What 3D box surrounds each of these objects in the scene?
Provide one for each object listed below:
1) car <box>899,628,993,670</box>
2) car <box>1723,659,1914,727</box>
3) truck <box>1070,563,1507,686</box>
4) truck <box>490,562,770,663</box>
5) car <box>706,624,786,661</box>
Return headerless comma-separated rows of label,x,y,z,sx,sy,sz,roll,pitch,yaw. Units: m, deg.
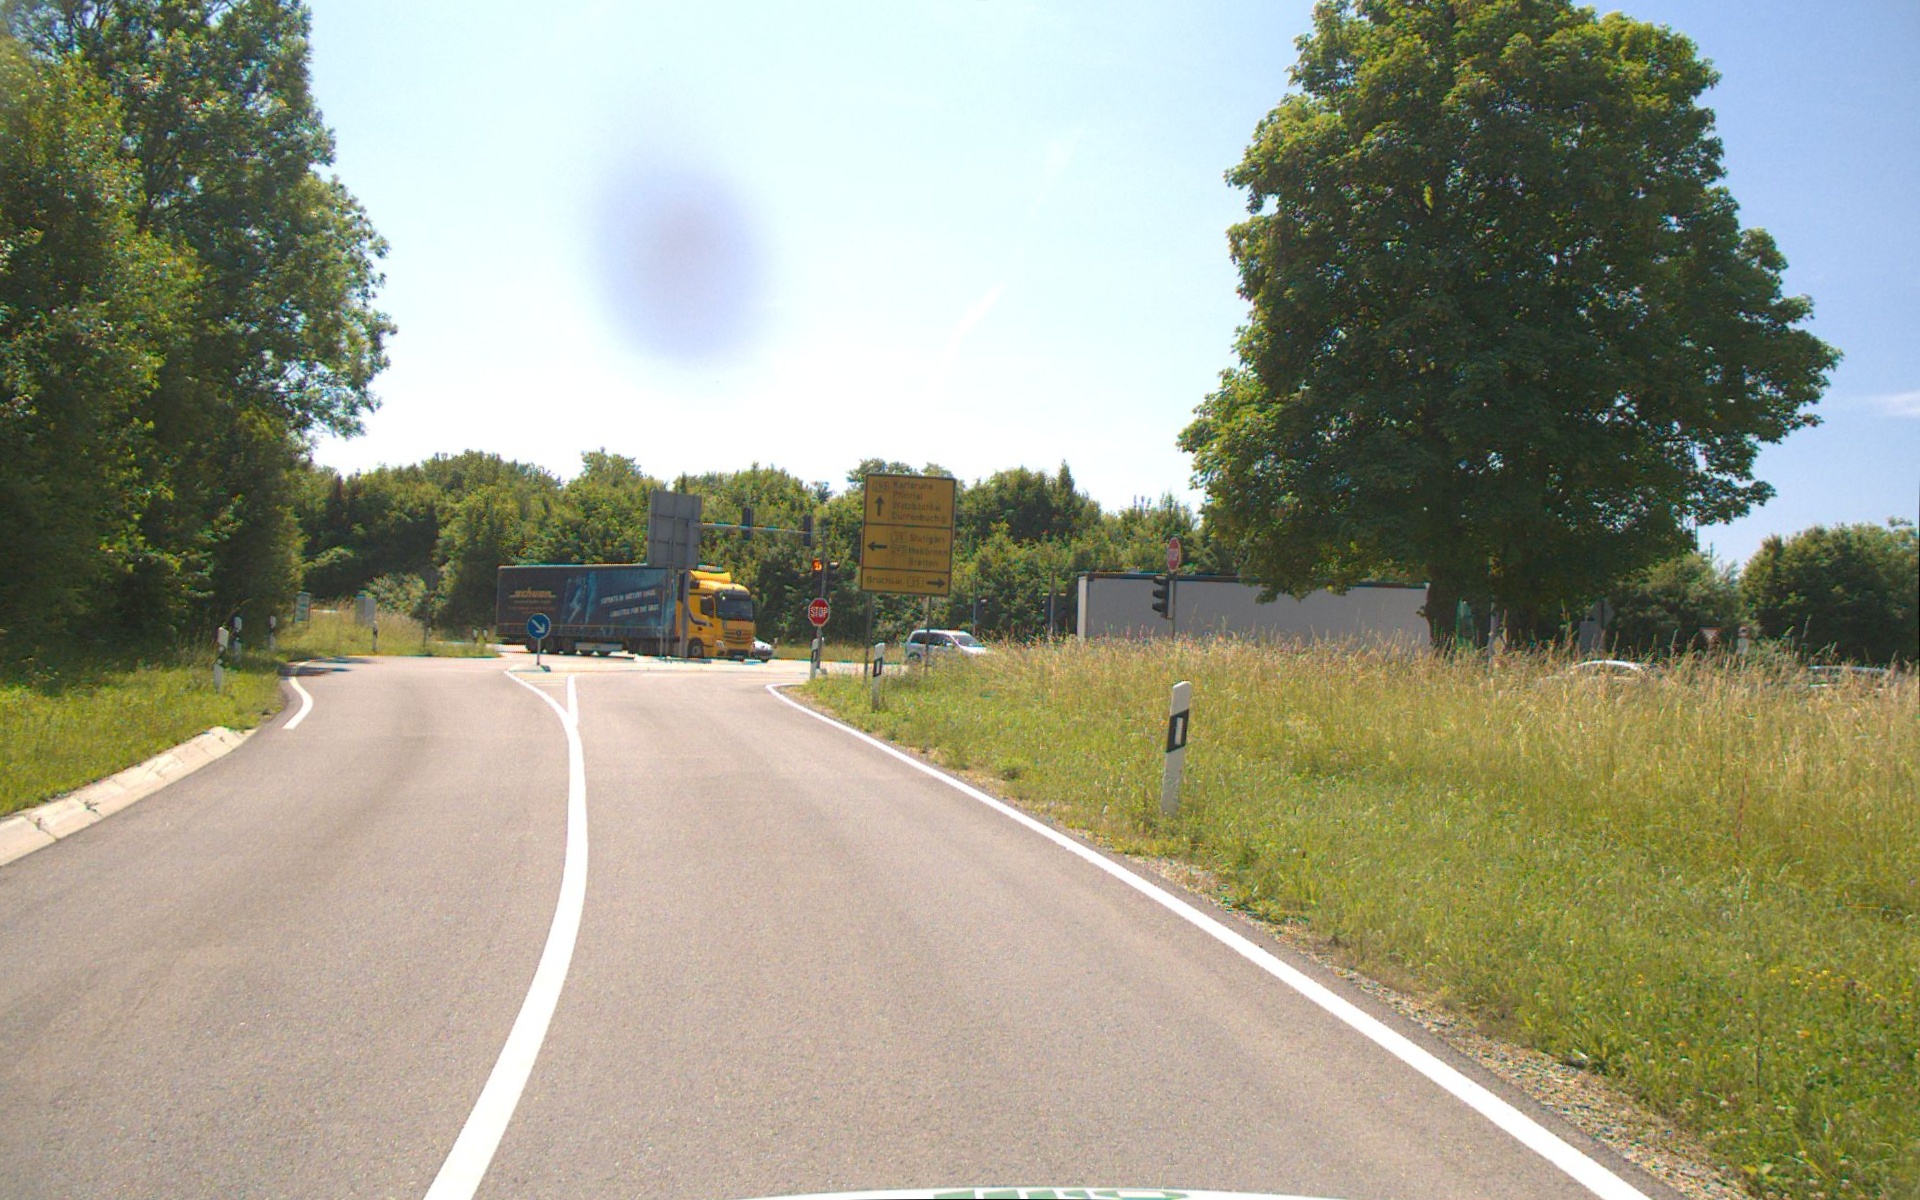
car,-0.578,1.934,66.106,3.626,1.603,1.714,-1,-1,43
car,23.381,2.492,45.166,1.711,1.580,4.325,2,-1,-37
truck,12.580,0.973,64.135,16.298,4.246,3.134,1,-1,-3
truck,-15.480,0.428,75.781,16.500,4.204,2.836,1,-2,40
car,-9.818,1.917,75.627,3.849,1.603,1.648,-1,-1,45
